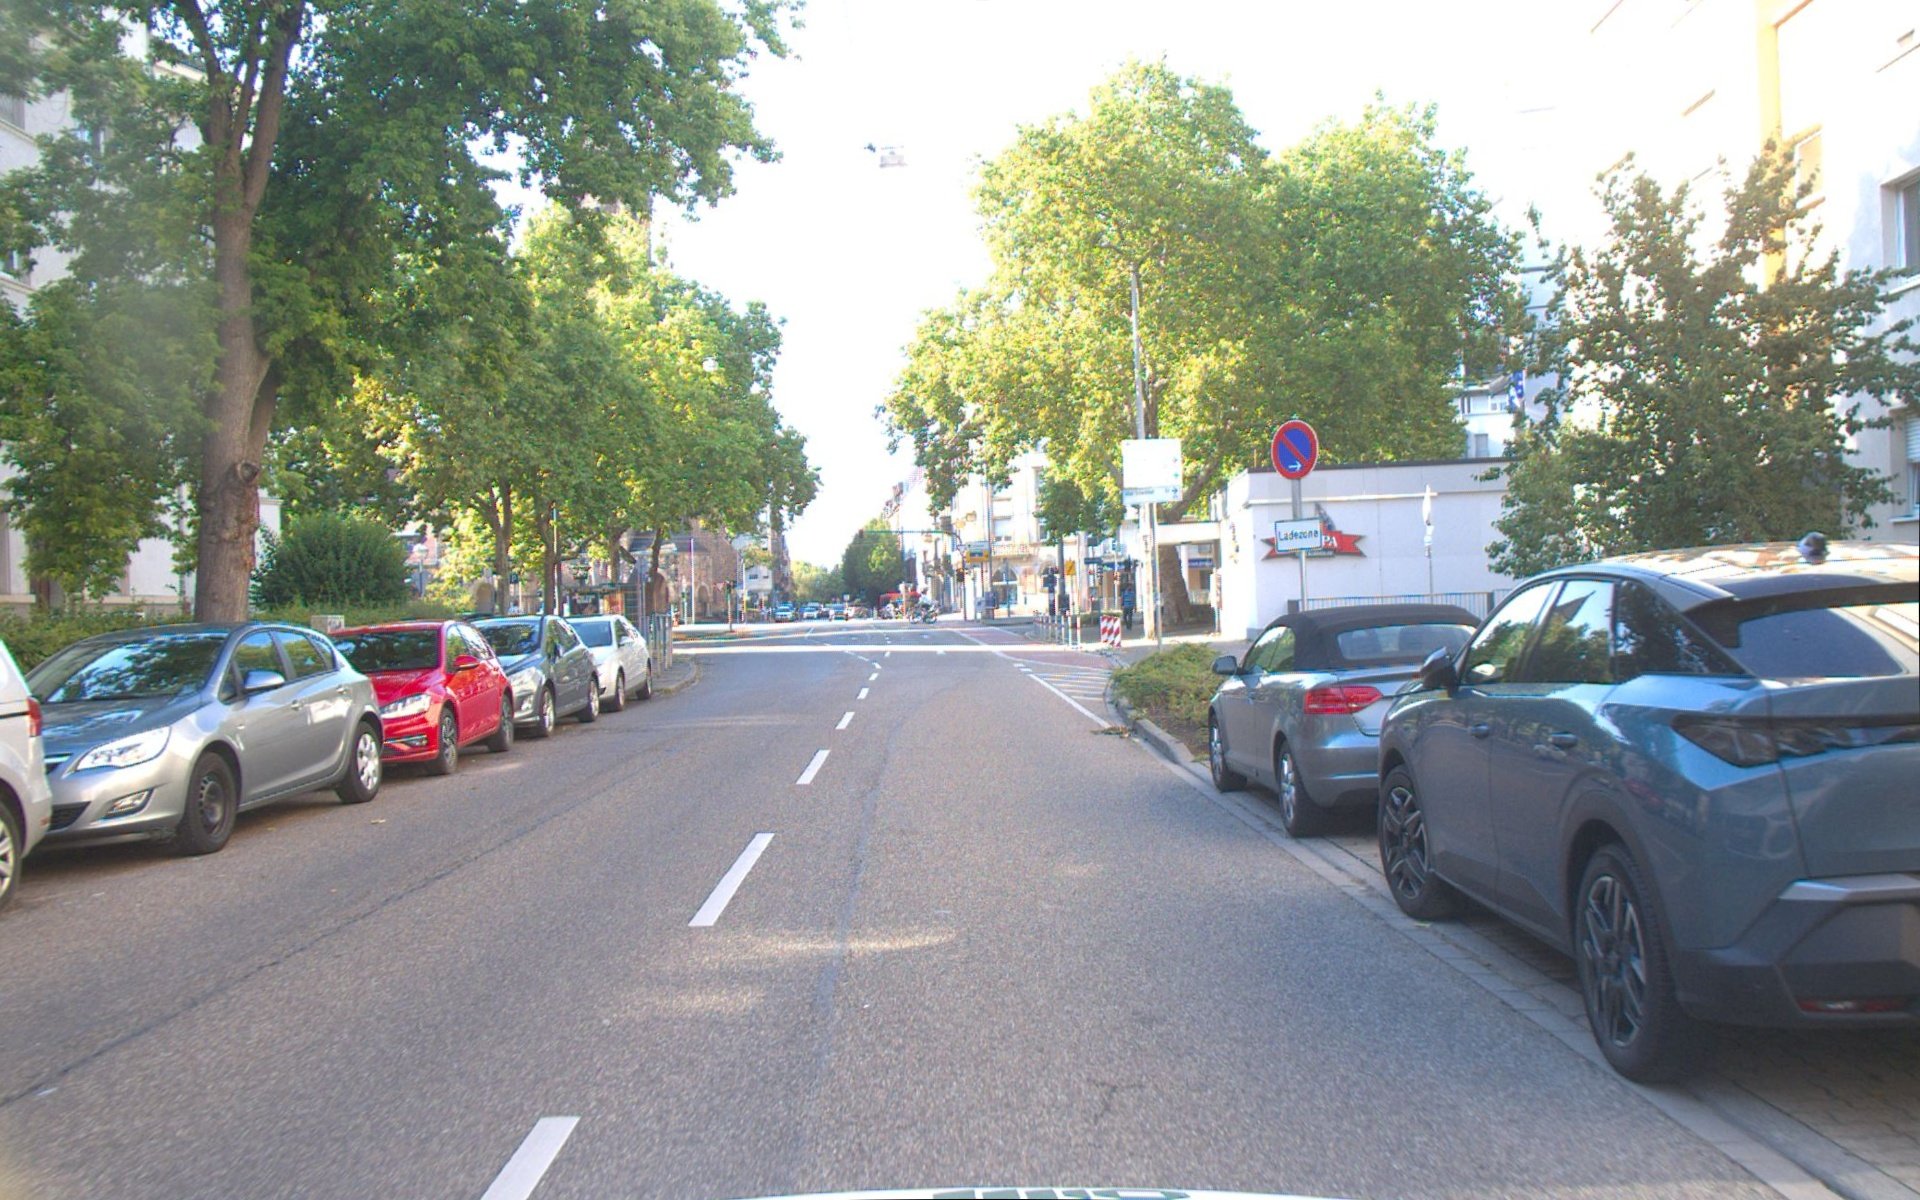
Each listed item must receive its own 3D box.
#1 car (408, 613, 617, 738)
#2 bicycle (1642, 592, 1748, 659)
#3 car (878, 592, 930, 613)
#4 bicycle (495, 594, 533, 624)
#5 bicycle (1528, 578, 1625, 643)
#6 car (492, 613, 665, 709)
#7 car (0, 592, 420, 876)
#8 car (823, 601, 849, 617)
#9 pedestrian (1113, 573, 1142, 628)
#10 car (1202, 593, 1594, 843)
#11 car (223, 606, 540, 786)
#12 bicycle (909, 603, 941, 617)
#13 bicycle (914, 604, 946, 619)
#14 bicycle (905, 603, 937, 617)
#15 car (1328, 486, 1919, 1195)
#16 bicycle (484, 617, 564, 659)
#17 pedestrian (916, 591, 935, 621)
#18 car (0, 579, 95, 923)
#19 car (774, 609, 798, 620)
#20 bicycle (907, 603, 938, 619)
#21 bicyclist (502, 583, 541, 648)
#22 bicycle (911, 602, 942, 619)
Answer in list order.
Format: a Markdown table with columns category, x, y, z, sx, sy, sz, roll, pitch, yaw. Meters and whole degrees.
| category | x | y | z | sx | sy | sz | roll | pitch | yaw |
| --- | --- | --- | --- | --- | --- | --- | --- | --- | --- |
| car | -5.701 | 0.917 | 21.554 | 1.669 | 1.465 | 4.127 | 0 | -1 | -1 |
| bicycle | 11.462 | 0.378 | 25.867 | 0.623 | 0.941 | 2.229 | 0 | 2 | -1 |
| car | -5.605 | 0.281 | 164.669 | 4.957 | 2.049 | 2.135 | 1 | -1 | -41 |
| bicycle | -18.105 | 0.382 | 67.164 | 0.703 | 1.165 | 3.291 | 0 | -1 | -1 |
| bicycle | 9.532 | 0.140 | 25.651 | 0.623 | 0.941 | 2.229 | 0 | 2 | -1 |
| car | -5.932 | 0.918 | 26.259 | 1.733 | 1.376 | 4.709 | 0 | -1 | -1 |
| car | -5.521 | 0.832 | 11.851 | 1.833 | 1.585 | 4.496 | -3 | -1 | -1 |
| car | -11.454 | 0.863 | 153.292 | 1.553 | 1.488 | 3.186 | 0 | -1 | 12 |
| pedestrian | 6.518 | 0.042 | 64.248 | 0.810 | 2.048 | 1.152 | -5 | -1 | -1 |
| car | 2.936 | 0.736 | 11.974 | 1.705 | 1.499 | 3.999 | 0 | -1 | -1 |
| car | -5.615 | 0.877 | 16.611 | 1.833 | 1.586 | 3.999 | 0 | -1 | -1 |
| bicycle | -3.066 | 0.893 | 145.820 | 2.750 | 1.225 | 0.516 | 0 | -1 | -8 |
| bicycle | -2.701 | 1.007 | 147.146 | 2.750 | 1.219 | 0.511 | 0 | 17 | -7 |
| bicycle | -3.409 | 0.888 | 144.295 | 2.750 | 1.225 | 0.509 | 0 | -1 | -8 |
| car | 2.934 | 0.583 | 6.329 | 1.888 | 1.688 | 4.676 | -2 | -1 | -1 |
| bicycle | -13.894 | 1.202 | 52.800 | 0.990 | 1.286 | 2.476 | -1 | -1 | 33 |
| pedestrian | -2.055 | 0.361 | 98.522 | 0.971 | 1.738 | 0.628 | -1 | -1 | 23 |
| car | -5.688 | 0.764 | 6.603 | 1.877 | 1.707 | 4.972 | -3 | -1 | -1 |
| car | -18.834 | 1.597 | 178.998 | 1.560 | 1.164 | 3.386 | 0 | -1 | 14 |
| bicycle | -2.276 | 0.653 | 100.869 | 1.746 | 0.911 | 0.750 | -2 | 0 | 25 |
| bicyclist | -13.967 | 0.493 | 52.689 | 0.957 | 2.049 | 0.795 | -1 | -1 | 34 |
| bicycle | -1.989 | 0.633 | 98.478 | 1.747 | 0.999 | 0.656 | -1 | -1 | 23 |
